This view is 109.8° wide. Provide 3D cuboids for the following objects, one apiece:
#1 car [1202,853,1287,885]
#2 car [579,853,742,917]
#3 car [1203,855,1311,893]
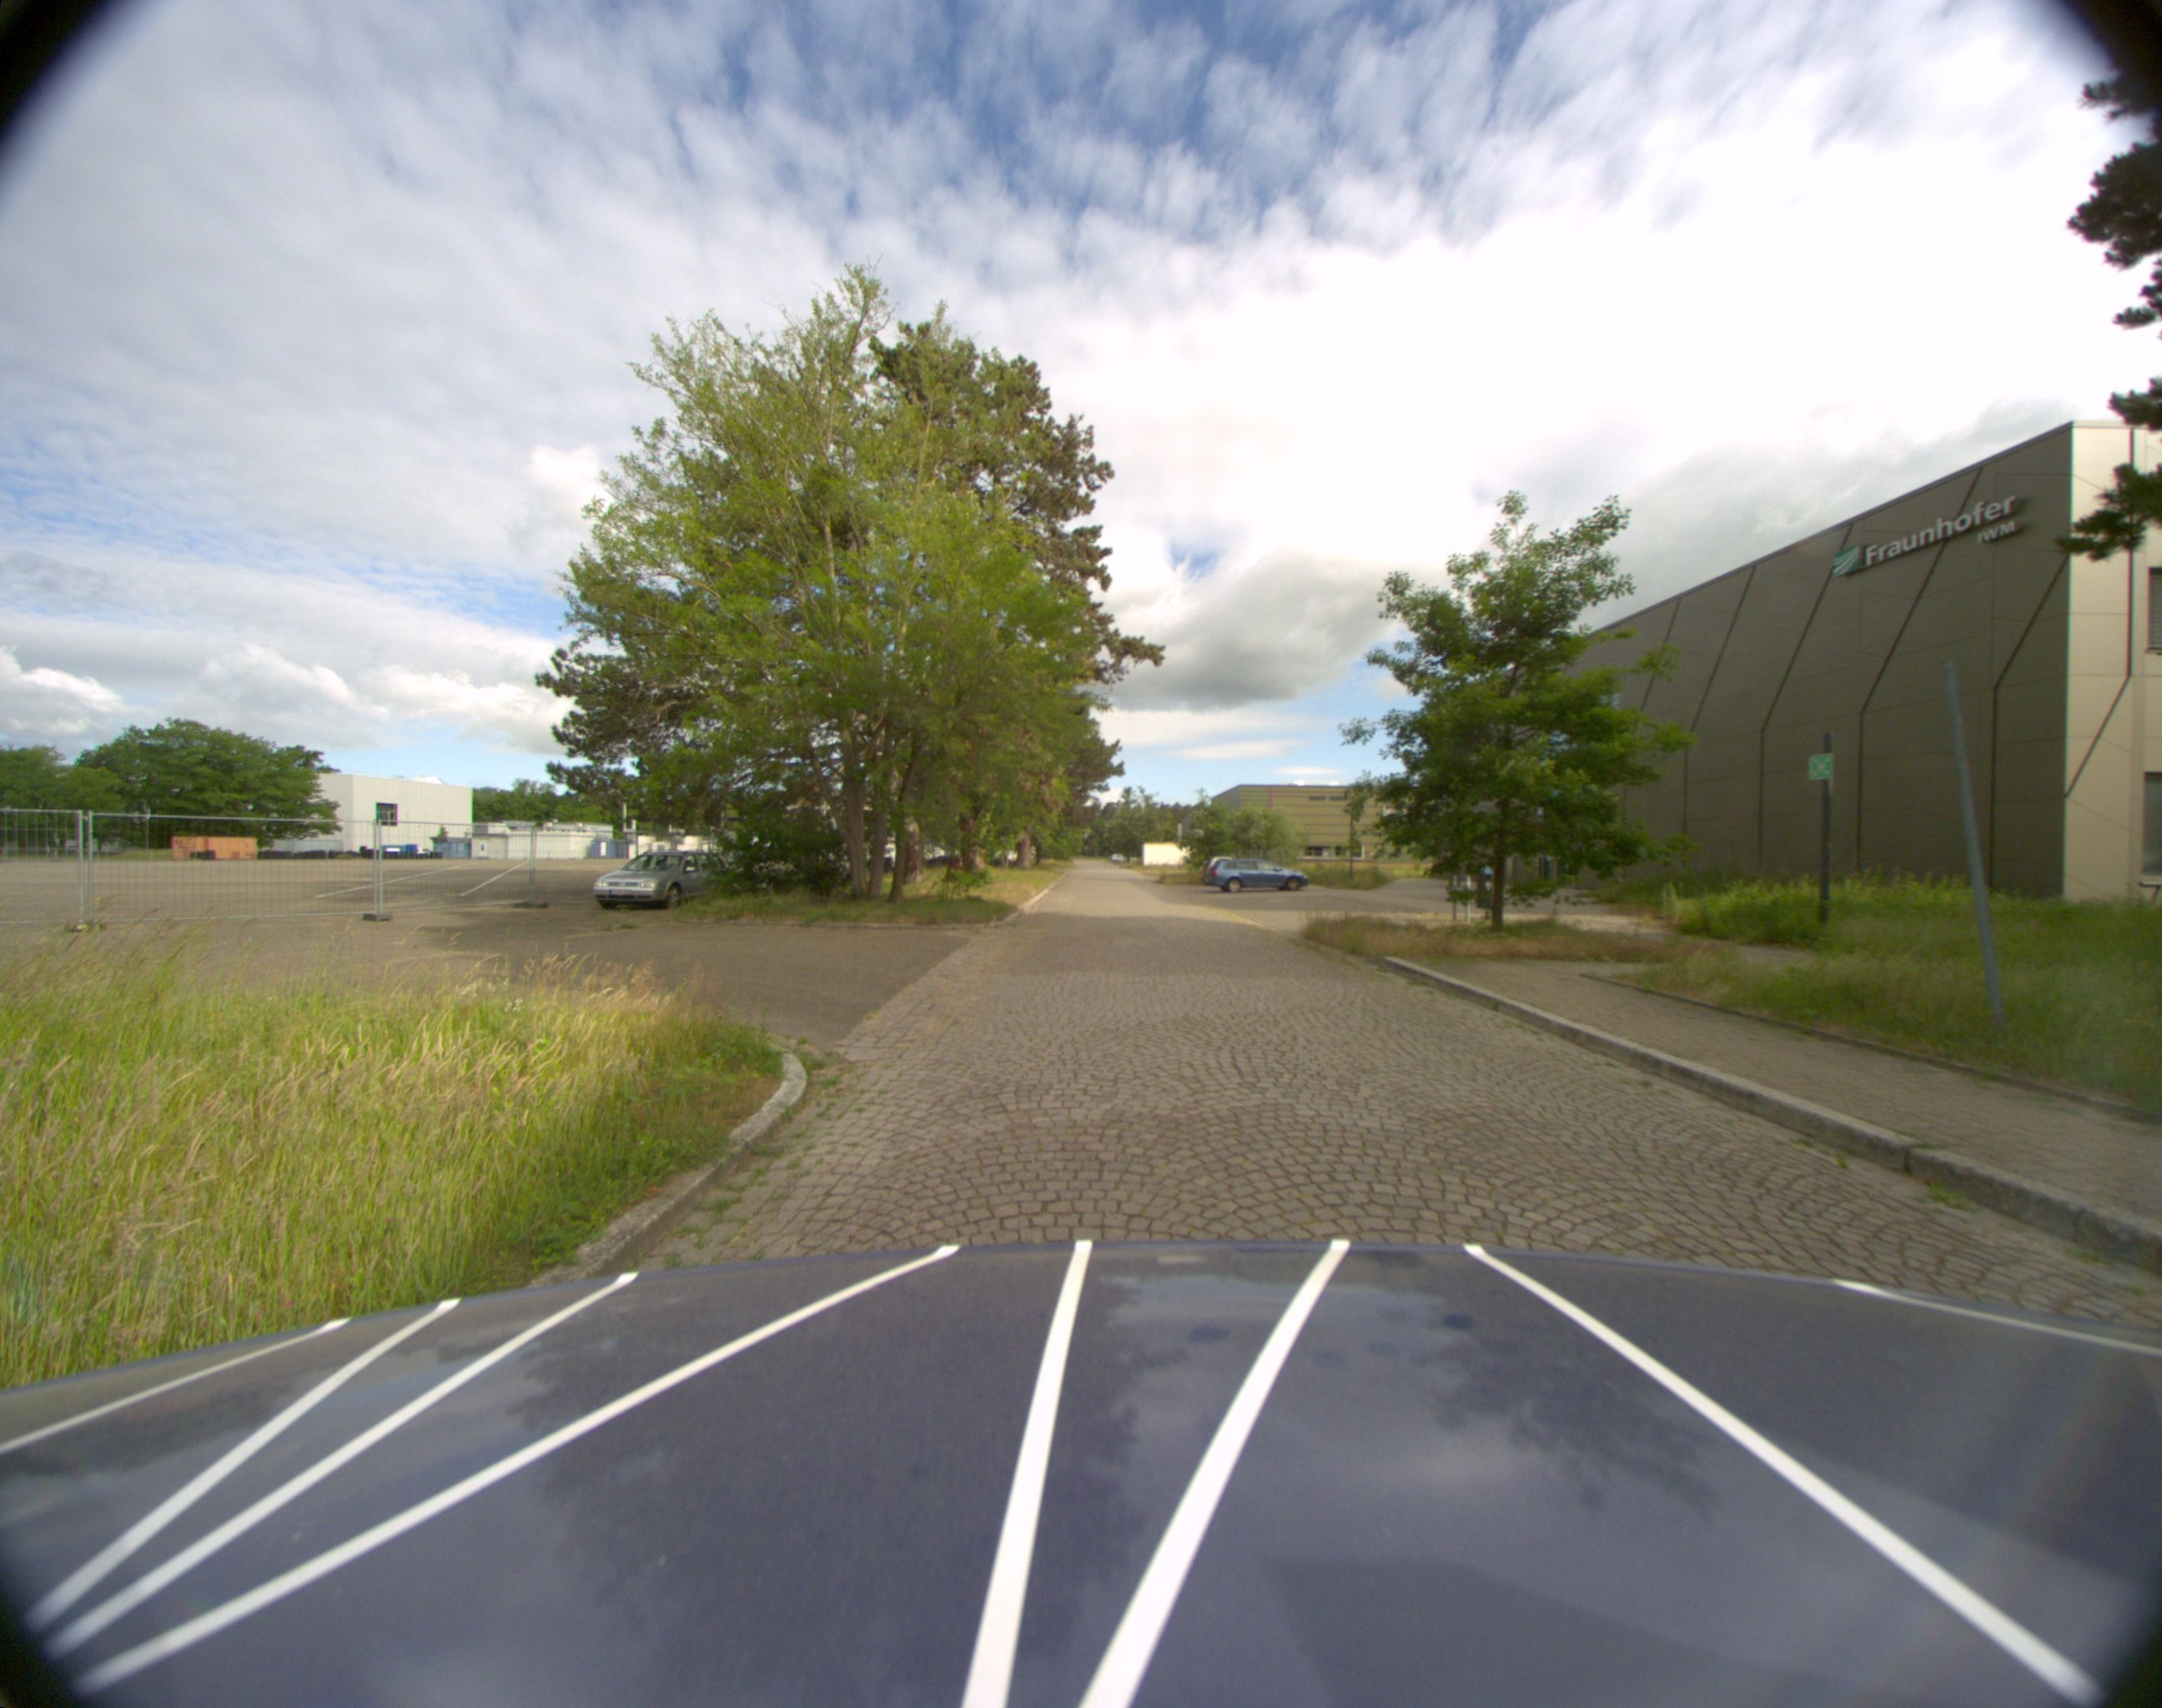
[{"bbox_3d":[8.866,0.806,41.501,4.400,1.537,1.842,-2,0,7],"label":"car"},{"bbox_3d":[-10.767,0.718,19.874,1.759,1.440,4.327,1,0,2],"label":"car"},{"bbox_3d":[7.885,0.892,34.196,4.404,1.501,1.716,-2,1,-2],"label":"car"}]
